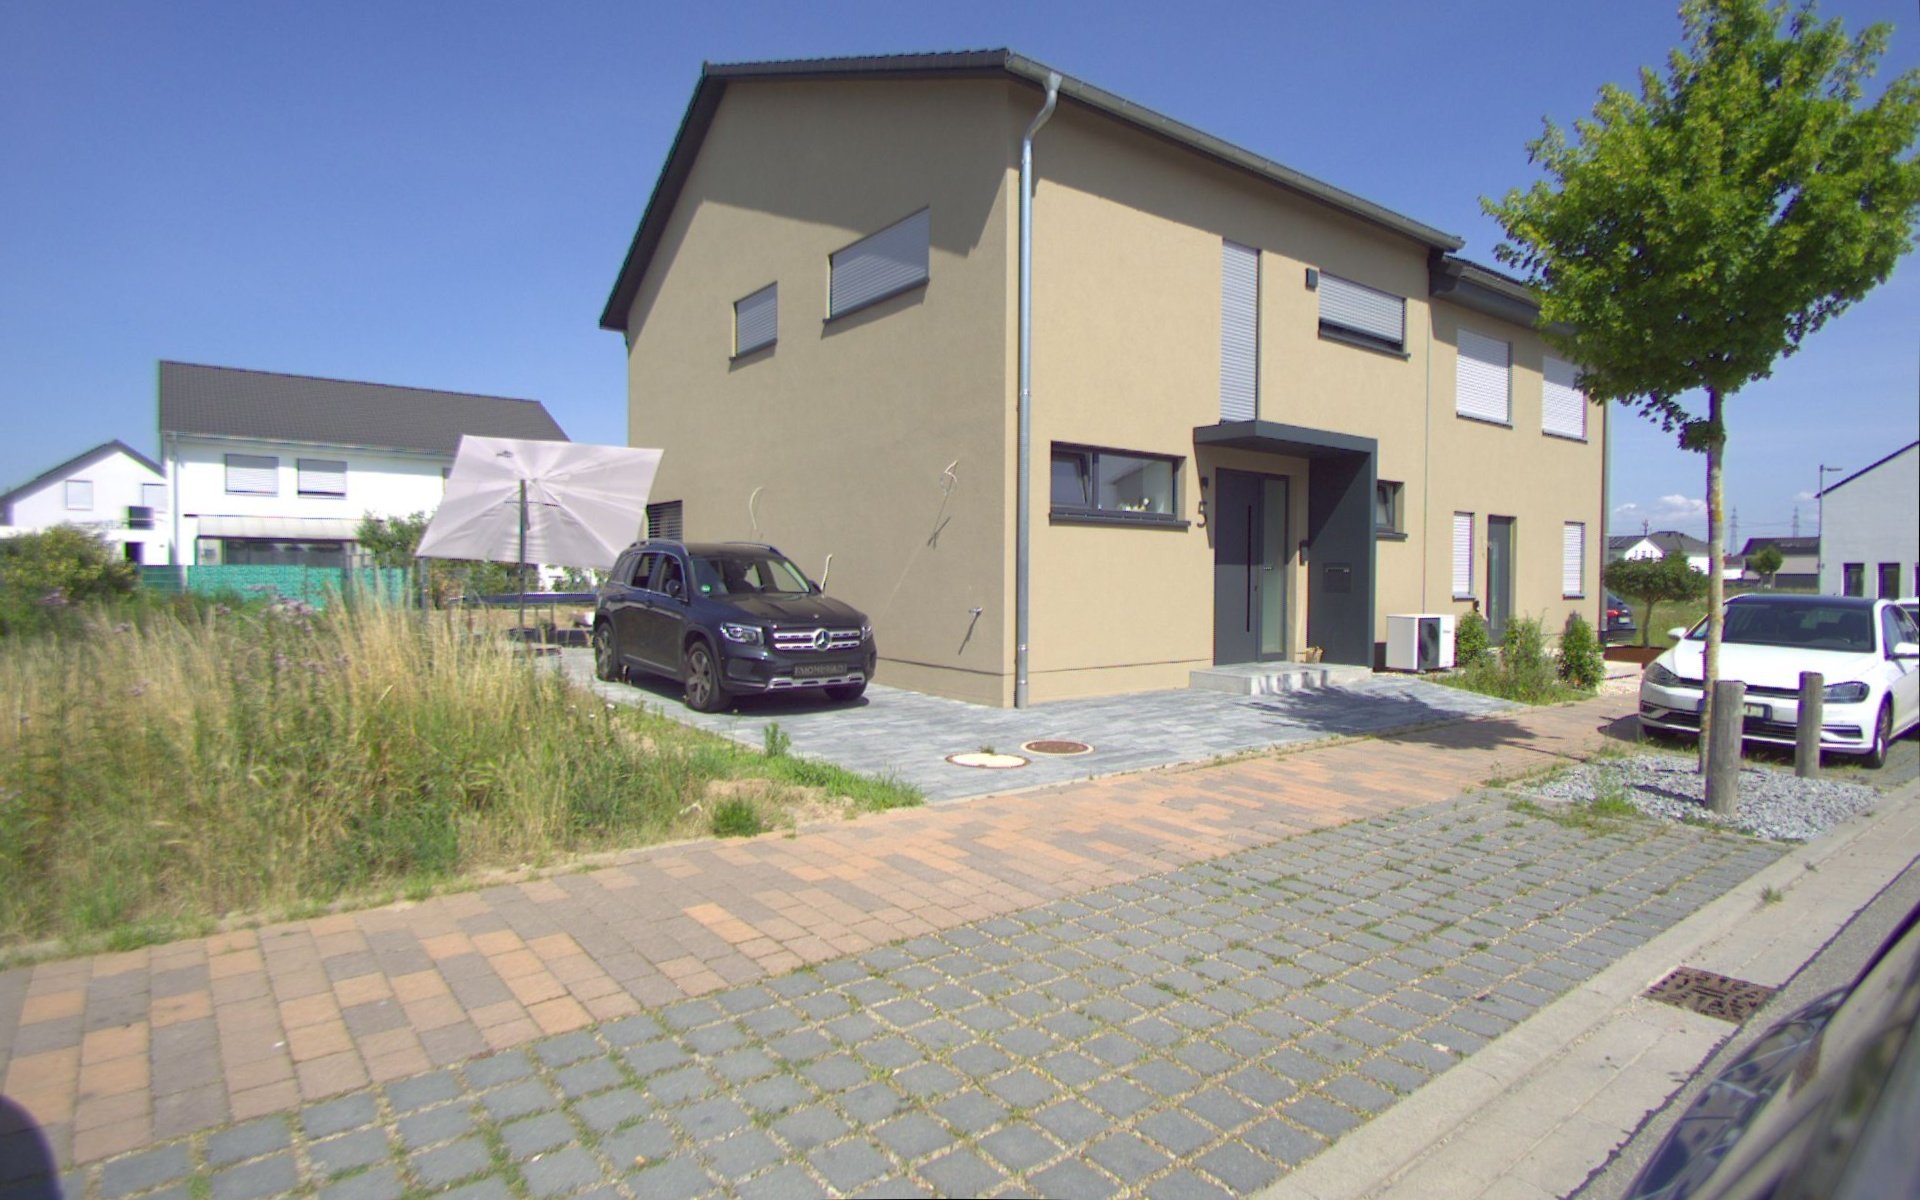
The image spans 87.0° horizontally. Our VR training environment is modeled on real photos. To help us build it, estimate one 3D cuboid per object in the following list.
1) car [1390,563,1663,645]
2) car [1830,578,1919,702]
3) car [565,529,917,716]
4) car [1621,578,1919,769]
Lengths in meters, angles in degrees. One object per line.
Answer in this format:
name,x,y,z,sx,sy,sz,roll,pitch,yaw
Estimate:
car,12.431,0.008,22.552,1.962,1.443,4.907,0,4,-34
car,13.514,0.479,13.589,4.479,1.473,1.820,-1,3,-37
car,-2.690,0.075,11.453,1.965,1.664,4.757,-2,3,-39
car,8.420,0.561,10.032,4.432,1.443,1.785,0,3,-38
